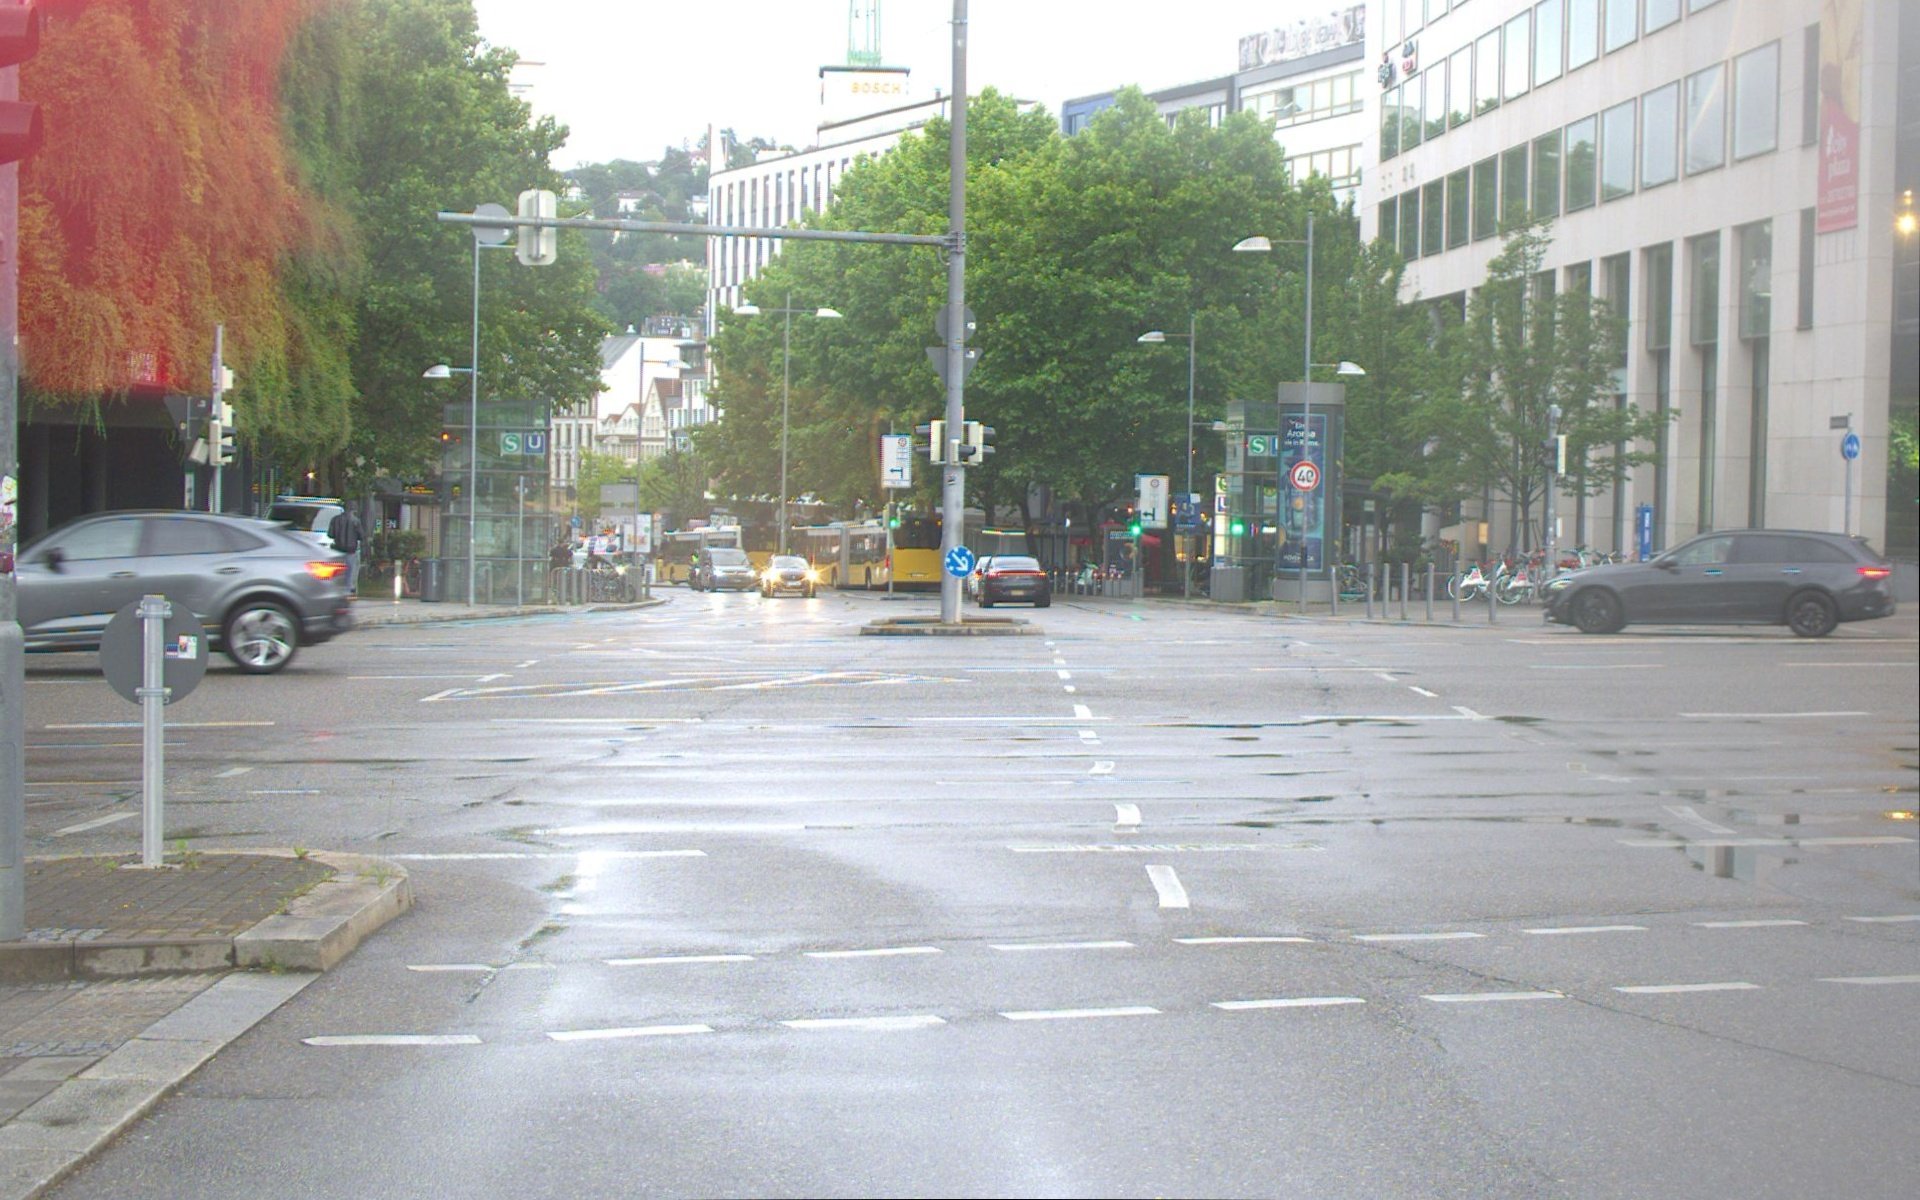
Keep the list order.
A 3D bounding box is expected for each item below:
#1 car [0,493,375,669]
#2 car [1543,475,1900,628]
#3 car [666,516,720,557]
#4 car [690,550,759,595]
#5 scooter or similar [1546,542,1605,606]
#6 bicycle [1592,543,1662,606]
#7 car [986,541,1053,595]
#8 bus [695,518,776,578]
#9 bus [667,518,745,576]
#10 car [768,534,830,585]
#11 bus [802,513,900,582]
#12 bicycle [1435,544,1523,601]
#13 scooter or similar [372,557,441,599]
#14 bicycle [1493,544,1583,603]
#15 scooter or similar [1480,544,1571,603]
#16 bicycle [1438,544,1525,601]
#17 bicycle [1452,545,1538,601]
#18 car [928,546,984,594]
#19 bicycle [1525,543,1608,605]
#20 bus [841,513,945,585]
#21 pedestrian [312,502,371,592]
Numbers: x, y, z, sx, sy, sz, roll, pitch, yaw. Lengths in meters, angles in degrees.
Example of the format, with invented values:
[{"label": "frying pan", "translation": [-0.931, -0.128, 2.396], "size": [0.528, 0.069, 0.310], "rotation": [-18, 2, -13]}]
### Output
[{"label": "car", "translation": [-7.960, -0.187, 32.908], "size": [4.473, 1.603, 1.832], "rotation": [1, 1, -16]}, {"label": "car", "translation": [10.407, -0.671, 46.955], "size": [4.656, 2.007, 1.548], "rotation": [1, 0, 15]}, {"label": "car", "translation": [-11.669, -2.764, 149.953], "size": [2.163, 1.759, 4.832], "rotation": [0, 1, -7]}, {"label": "car", "translation": [-9.539, -1.127, 138.957], "size": [2.163, 1.759, 4.832], "rotation": [-1, 1, -11]}, {"label": "scooter or similar", "translation": [11.488, -0.486, 64.154], "size": [0.963, 1.190, 0.454], "rotation": [1, 1, 40]}, {"label": "bicycle", "translation": [13.002, -0.493, 66.949], "size": [0.586, 1.190, 1.779], "rotation": [1, 1, 38]}, {"label": "car", "translation": [1.675, -0.917, 98.014], "size": [1.781, 1.503, 4.000], "rotation": [1, 1, -1]}, {"label": "bus", "translation": [-11.343, -2.644, 173.229], "size": [2.627, 2.985, 7.330], "rotation": [0, 1, -16]}, {"label": "bus", "translation": [-13.358, -2.809, 180.326], "size": [2.627, 2.985, 7.451], "rotation": [0, 1, -16]}, {"label": "car", "translation": [-5.800, -1.458, 123.438], "size": [2.164, 1.759, 5.112], "rotation": [-1, 1, -3]}, {"label": "bus", "translation": [-4.902, -2.351, 153.084], "size": [2.627, 2.985, 7.451], "rotation": [0, 1, -16]}, {"label": "bicycle", "translation": [10.983, -0.579, 72.770], "size": [1.777, 1.190, 0.586], "rotation": [1, 0, 2]}, {"label": "scooter or similar", "translation": [-13.277, -0.533, 82.545], "size": [0.623, 1.001, 1.657], "rotation": [1, 1, 38]}, {"label": "bicycle", "translation": [12.030, -0.553, 71.601], "size": [1.777, 1.190, 0.586], "rotation": [1, 0, 2]}, {"label": "scooter or similar", "translation": [11.676, -0.552, 70.978], "size": [1.777, 1.190, 0.586], "rotation": [1, 0, 2]}, {"label": "bicycle", "translation": [11.131, -0.583, 73.404], "size": [1.777, 1.190, 0.586], "rotation": [1, 0, 2]}, {"label": "bicycle", "translation": [11.560, -0.587, 74.322], "size": [1.777, 1.190, 0.586], "rotation": [1, 0, 2]}, {"label": "car", "translation": [-0.152, -0.980, 112.047], "size": [1.781, 1.503, 4.000], "rotation": [1, 1, -1]}, {"label": "bicycle", "translation": [11.699, -0.506, 66.391], "size": [0.584, 1.190, 1.784], "rotation": [1, 1, -28]}, {"label": "bus", "translation": [-2.889, -2.179, 145.938], "size": [2.627, 2.985, 7.451], "rotation": [0, 1, -16]}, {"label": "pedestrian", "translation": [-11.389, -0.970, 63.346], "size": [0.933, 1.638, 0.774], "rotation": [1, 0, -1]}]
